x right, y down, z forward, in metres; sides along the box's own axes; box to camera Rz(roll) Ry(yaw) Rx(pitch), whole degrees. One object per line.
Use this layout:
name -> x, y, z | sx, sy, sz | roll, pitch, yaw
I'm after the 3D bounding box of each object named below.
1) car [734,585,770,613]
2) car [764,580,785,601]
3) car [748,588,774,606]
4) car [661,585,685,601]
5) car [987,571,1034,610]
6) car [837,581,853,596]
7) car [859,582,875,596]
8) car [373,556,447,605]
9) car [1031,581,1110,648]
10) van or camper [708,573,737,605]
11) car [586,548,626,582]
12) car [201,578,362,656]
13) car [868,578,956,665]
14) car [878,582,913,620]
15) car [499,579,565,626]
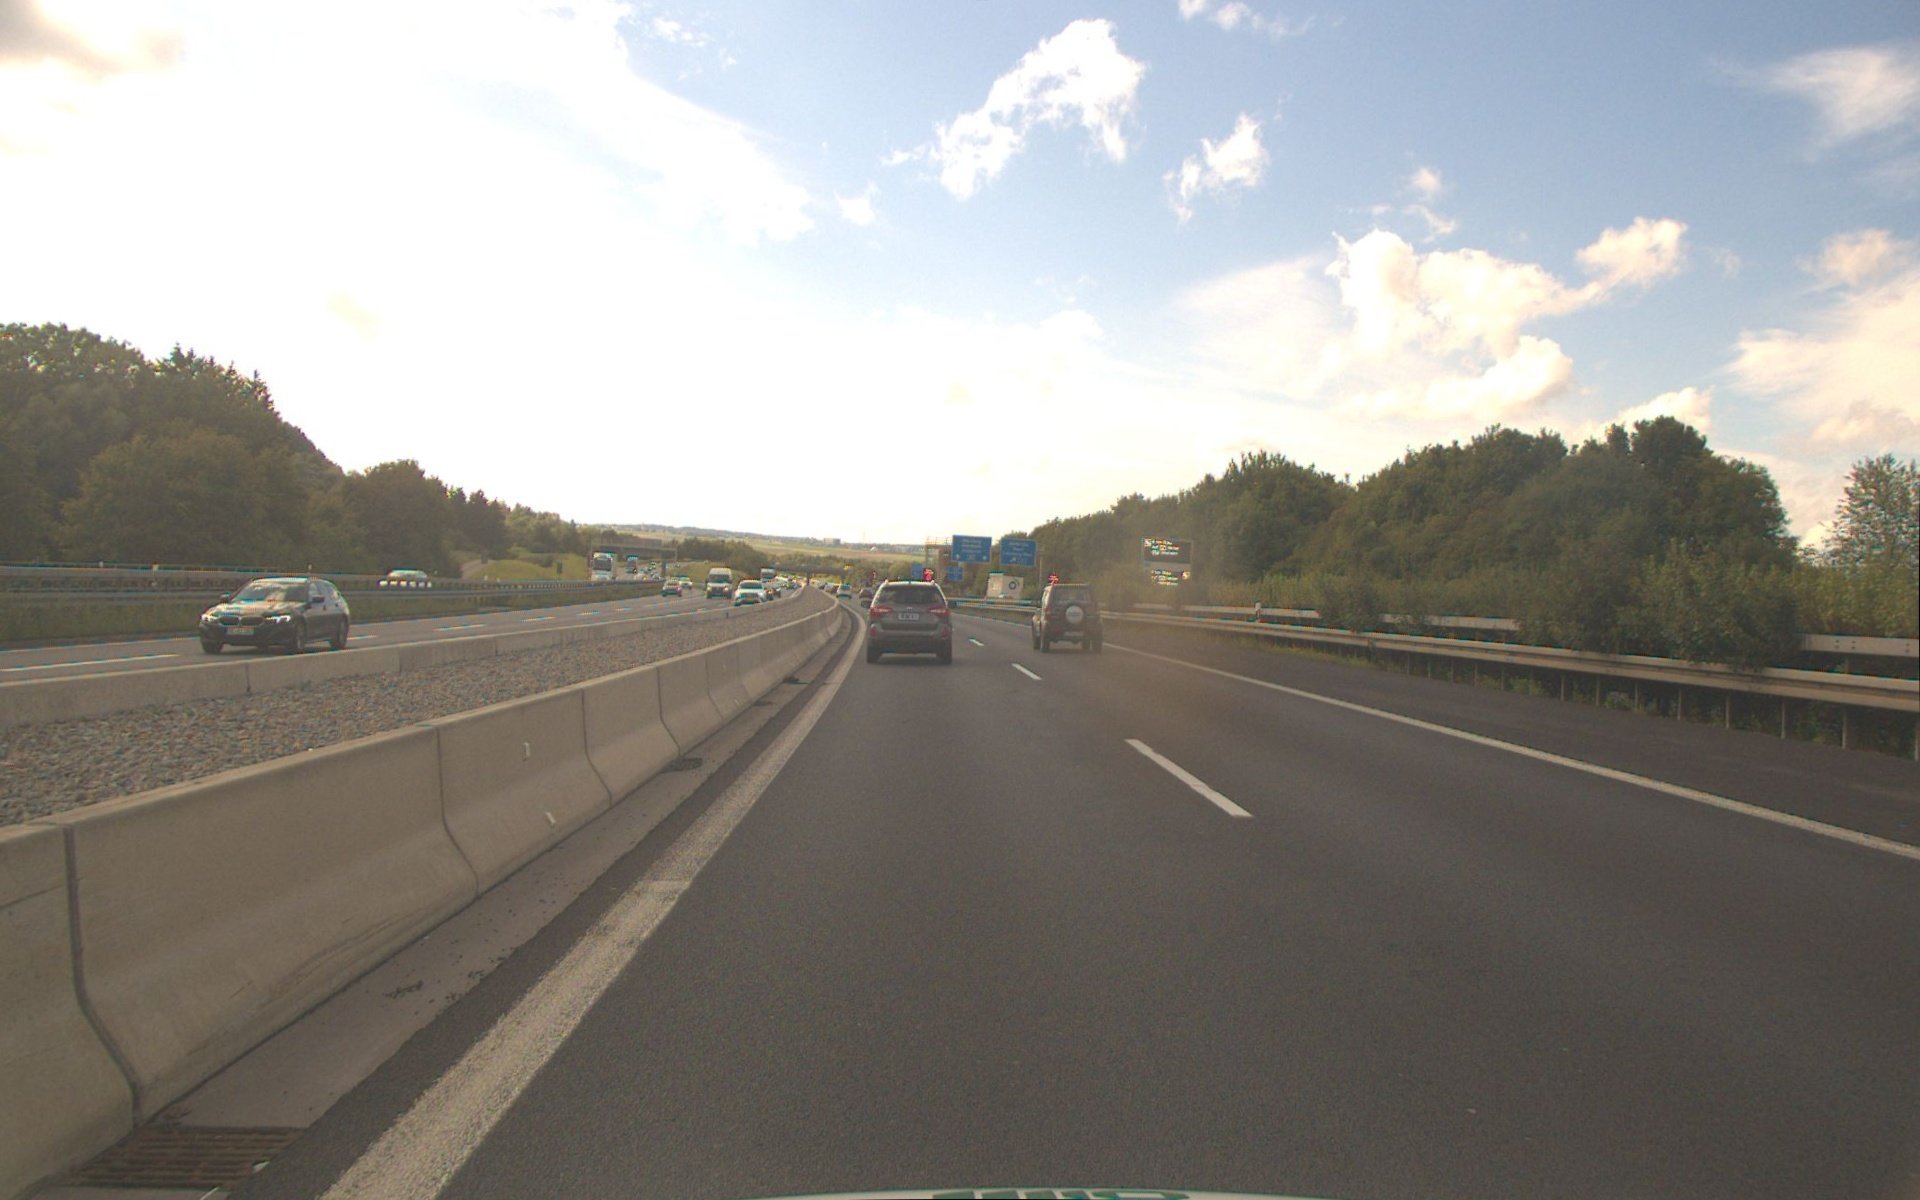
car -> -13.059, -0.068, 103.923 | 1.806, 1.639, 5.133 | 1, 0, -3
car -> -19.388, -0.995, 173.022 | 1.954, 2.049, 4.269 | 2, 0, -4
car -> -17.076, -0.271, 142.075 | 1.887, 1.460, 4.774 | 1, 0, -4
car -> -26.000, -0.637, 150.139 | 1.594, 1.316, 4.751 | 1, 0, -4
car -> 6.116, -1.082, 202.100 | 4.635, 4.341, 11.394 | 1, -1, -4
car -> -14.795, -1.487, 212.973 | 1.955, 1.713, 3.995 | 1, -1, -5
car -> -13.772, -1.637, 244.747 | 1.956, 1.963, 3.992 | 1, -1, -8
car -> -26.516, -0.929, 79.945 | 1.953, 2.272, 5.144 | 2, 0, -2
car -> 2.841, 0.342, 43.274 | 1.555, 1.625, 4.093 | 1, 0, -3
van or camper -> -20.707, -0.970, 144.294 | 1.947, 2.670, 6.858 | 1, 0, -4
car -> -45.114, -4.395, 211.351 | 3.745, 4.151, 14.805 | 1, 0, -7
car -> -13.691, 0.298, 33.674 | 1.751, 1.442, 4.988 | 1, 0, -7
car -> -1.088, 0.465, 36.737 | 1.781, 1.766, 5.184 | 1, -1, -2
car -> -3.818, 0.041, 98.790 | 1.989, 2.189, 3.999 | 1, 0, -1
car -> -16.436, 0.078, 63.676 | 1.691, 1.729, 4.149 | 1, 0, -4
